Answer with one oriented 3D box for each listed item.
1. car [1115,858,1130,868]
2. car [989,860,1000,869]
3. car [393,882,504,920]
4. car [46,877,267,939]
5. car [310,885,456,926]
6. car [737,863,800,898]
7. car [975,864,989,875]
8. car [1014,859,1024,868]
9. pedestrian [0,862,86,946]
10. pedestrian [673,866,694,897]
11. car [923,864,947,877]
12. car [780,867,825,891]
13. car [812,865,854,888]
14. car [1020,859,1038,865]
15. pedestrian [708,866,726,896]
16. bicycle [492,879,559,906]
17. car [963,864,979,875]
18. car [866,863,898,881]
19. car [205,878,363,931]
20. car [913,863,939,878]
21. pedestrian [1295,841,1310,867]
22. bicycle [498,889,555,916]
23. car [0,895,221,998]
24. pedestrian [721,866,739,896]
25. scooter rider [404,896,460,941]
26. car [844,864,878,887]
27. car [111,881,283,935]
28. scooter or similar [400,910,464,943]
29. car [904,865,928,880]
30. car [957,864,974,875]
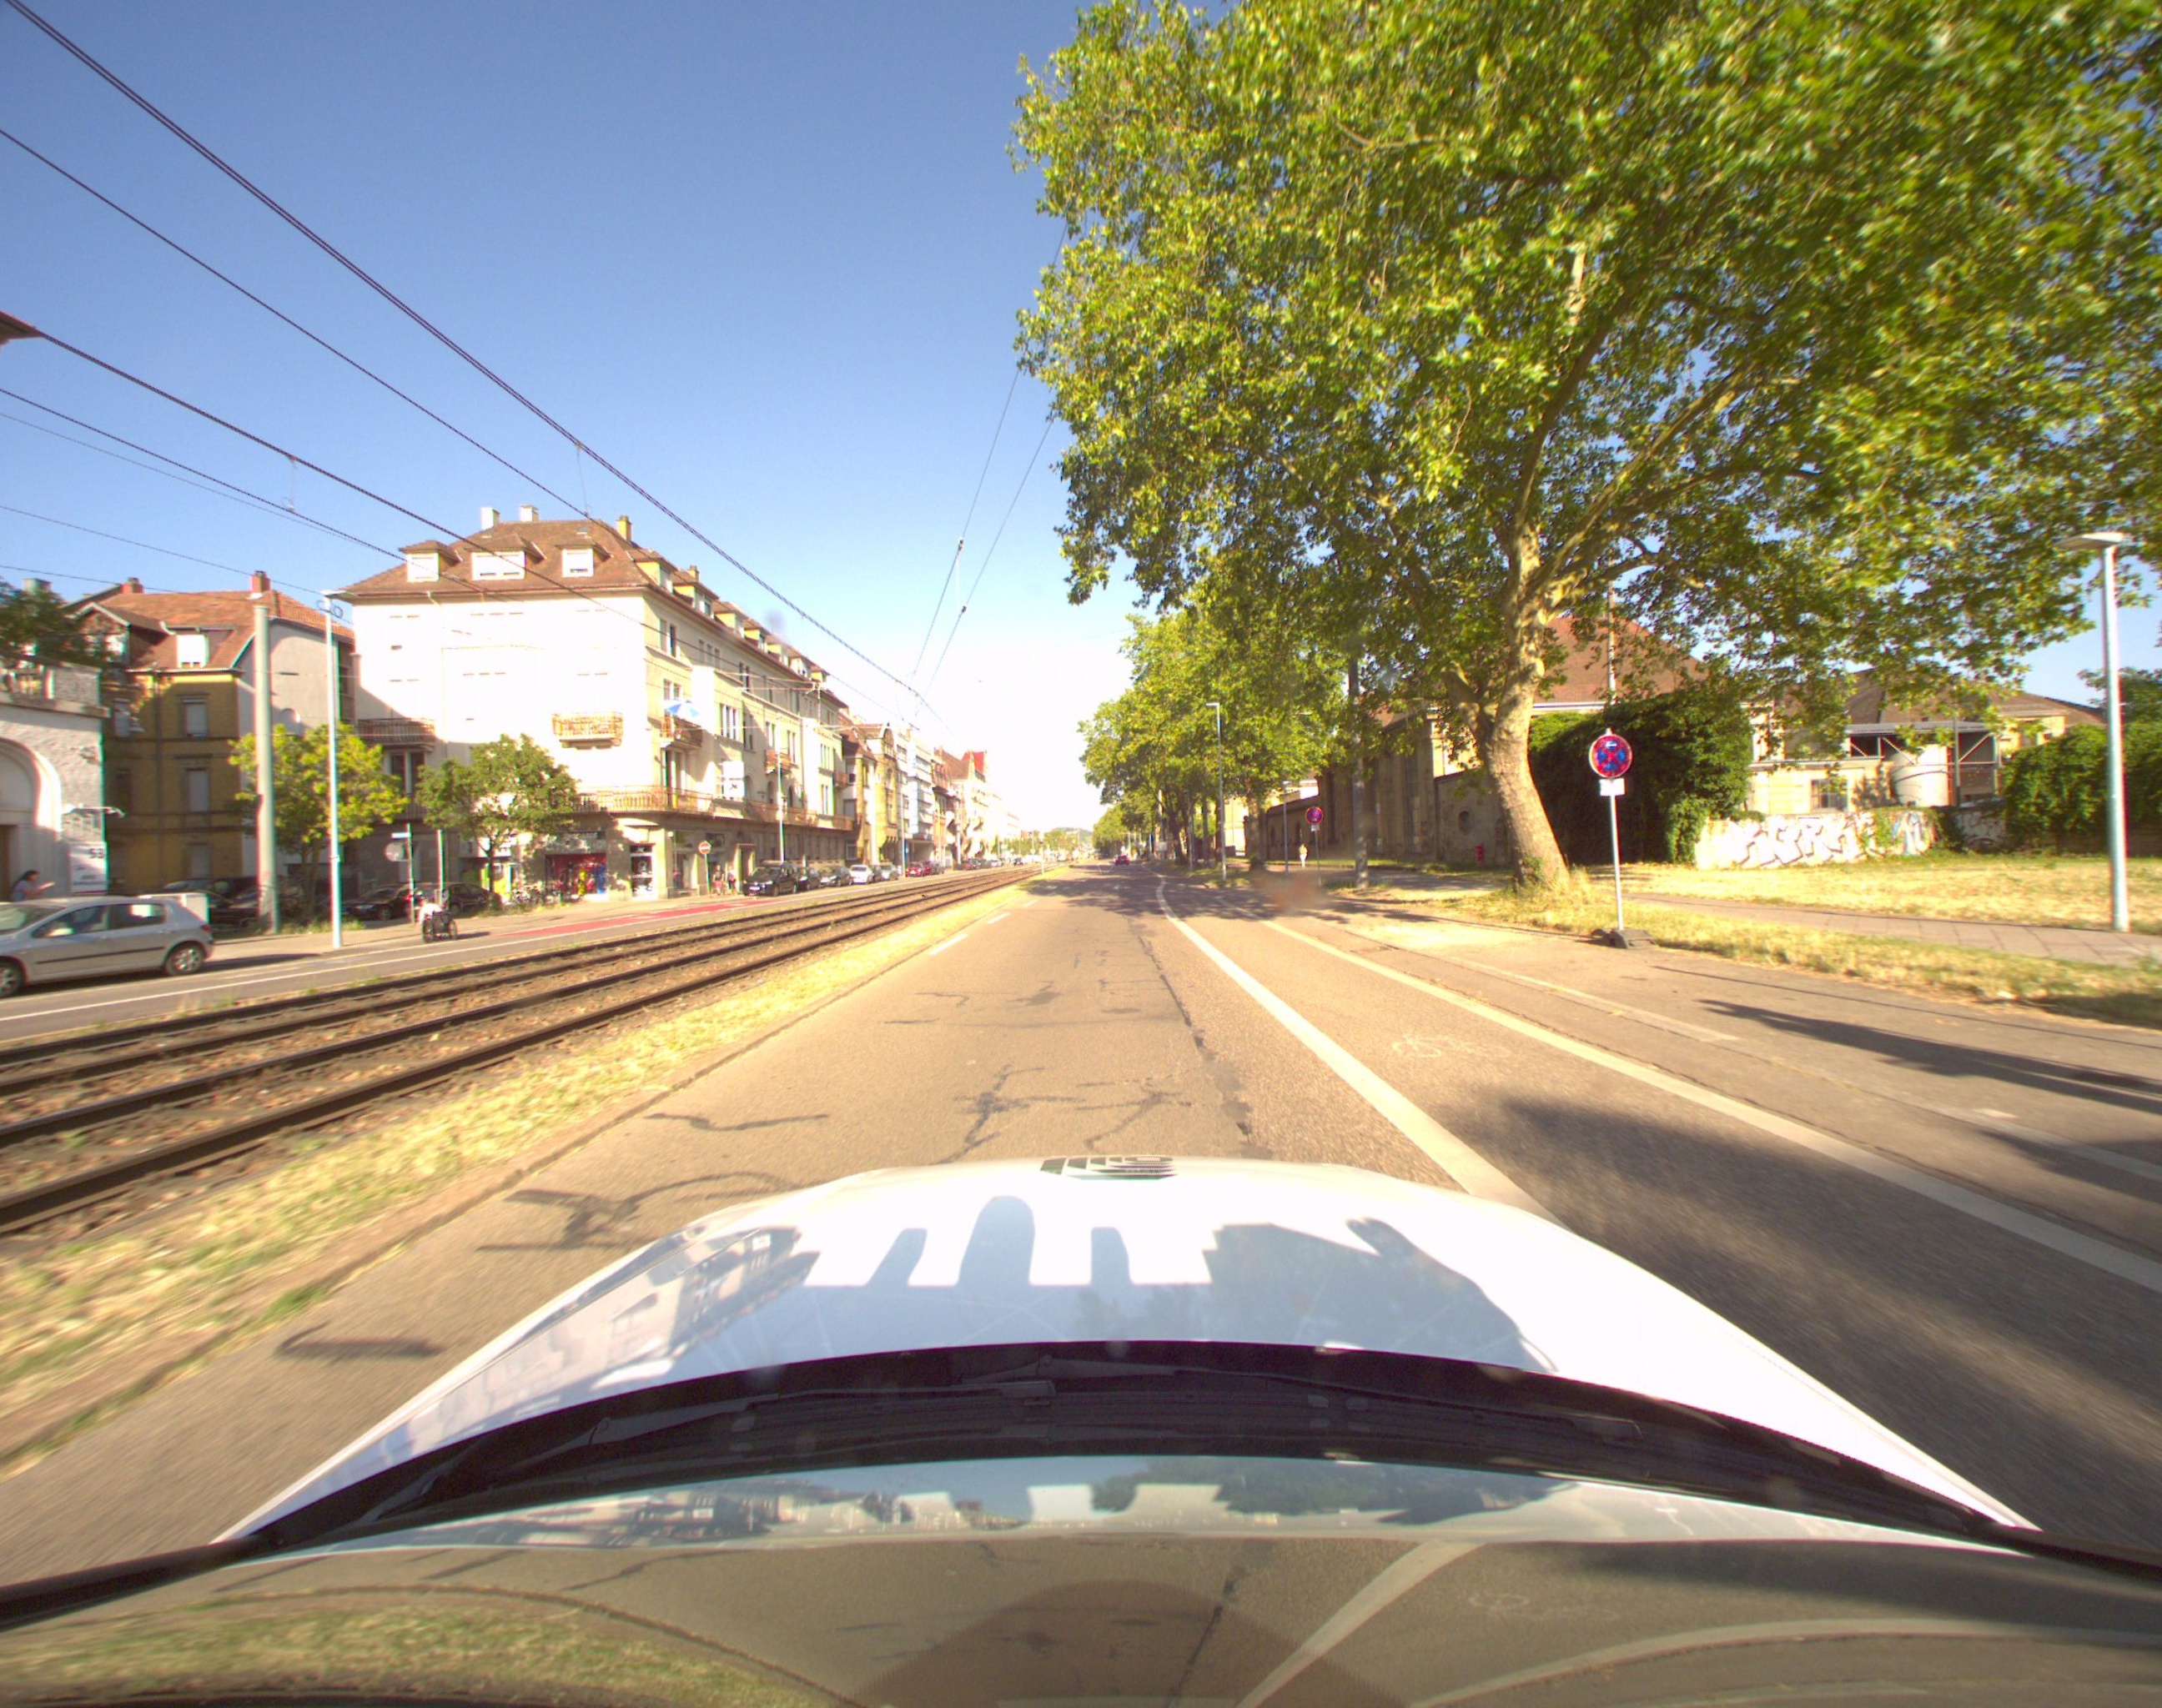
[{"bbox_3d":[5.699,1.205,112.468,1.827,1.391,4.159,-1,0,0],"label":"car"},{"bbox_3d":[-15.932,1.916,150.446,1.790,1.510,3.995,1,0,-4],"label":"car"},{"bbox_3d":[-27.529,2.014,35.640,1.769,1.464,4.238,0,-1,-4],"label":"car"},{"bbox_3d":[-27.700,1.547,24.654,1.788,1.641,4.261,-2,-2,0],"label":"car"},{"bbox_3d":[-30.143,2.185,35.415,2.051,1.510,4.896,-2,-2,0],"label":"car"},{"bbox_3d":[-17.442,1.418,45.707,1.856,1.786,4.401,0,0,0],"label":"car"},{"bbox_3d":[-15.997,2.442,132.218,1.681,1.652,4.199,1,0,1],"label":"car"},{"bbox_3d":[-12.233,1.848,160.692,1.630,1.601,4.157,-3,0,-1],"label":"car"},{"bbox_3d":[-22.781,1.066,17.743,0.993,1.778,0.931,0,-1,-14],"label":"pedestrian"},{"bbox_3d":[-21.928,1.515,44.890,0.637,1.661,0.955,0,-1,3],"label":"pedestrian"},{"bbox_3d":[-16.870,1.899,94.340,1.827,1.391,4.682,-1,0,0],"label":"car"},{"bbox_3d":[-17.610,1.564,51.660,1.622,1.391,3.508,1,0,0],"label":"car"},{"bbox_3d":[-17.410,1.537,57.341,1.630,1.469,4.159,1,0,0],"label":"car"},{"bbox_3d":[-12.894,2.029,201.389,3.949,1.510,1.811,-1,-1,29],"label":"car"},{"bbox_3d":[-20.500,1.506,45.902,0.587,1.697,0.858,0,-1,3],"label":"pedestrian"},{"bbox_3d":[-27.171,1.893,39.841,2.866,1.161,0.754,-2,-1,7],"label":"bicycle"},{"bbox_3d":[-16.401,2.288,121.846,1.788,1.510,4.000,1,0,1],"label":"car"},{"bbox_3d":[-17.380,1.523,71.365,1.629,1.469,4.160,-1,0,1],"label":"car"},{"bbox_3d":[-34.256,2.112,35.254,2.053,2.041,4.893,-2,-2,-1],"label":"car"},{"bbox_3d":[-16.960,1.824,89.113,1.826,1.558,4.355,-1,-1,2],"label":"car"},{"bbox_3d":[15.019,0.023,55.217,0.606,1.681,0.636,-6,0,-1],"label":"pedestrian"},{"bbox_3d":[-23.531,2.043,34.609,0.681,1.016,2.415,0,0,3],"label":"bicycle"},{"bbox_3d":[-17.885,1.529,14.013,1.787,1.510,4.002,0,-1,2],"label":"car"},{"bbox_3d":[-19.805,1.505,45.920,0.587,1.697,0.858,0,-1,3],"label":"pedestrian"},{"bbox_3d":[-16.917,1.683,21.233,0.966,1.089,0.813,-3,0,32],"label":"scooter rider"},{"bbox_3d":[-16.787,1.608,62.279,1.631,1.468,3.979,-3,1,-3],"label":"car"},{"bbox_3d":[-37.616,2.246,34.893,2.053,2.041,4.893,-2,-2,-1],"label":"car"},{"bbox_3d":[-16.945,1.874,21.251,1.549,0.770,0.813,-3,0,32],"label":"scooter or similar"},{"bbox_3d":[-16.894,1.860,83.540,1.830,1.391,4.030,1,-1,-4],"label":"car"},{"bbox_3d":[-16.534,2.226,116.965,1.788,1.460,4.266,1,0,0],"label":"car"}]
